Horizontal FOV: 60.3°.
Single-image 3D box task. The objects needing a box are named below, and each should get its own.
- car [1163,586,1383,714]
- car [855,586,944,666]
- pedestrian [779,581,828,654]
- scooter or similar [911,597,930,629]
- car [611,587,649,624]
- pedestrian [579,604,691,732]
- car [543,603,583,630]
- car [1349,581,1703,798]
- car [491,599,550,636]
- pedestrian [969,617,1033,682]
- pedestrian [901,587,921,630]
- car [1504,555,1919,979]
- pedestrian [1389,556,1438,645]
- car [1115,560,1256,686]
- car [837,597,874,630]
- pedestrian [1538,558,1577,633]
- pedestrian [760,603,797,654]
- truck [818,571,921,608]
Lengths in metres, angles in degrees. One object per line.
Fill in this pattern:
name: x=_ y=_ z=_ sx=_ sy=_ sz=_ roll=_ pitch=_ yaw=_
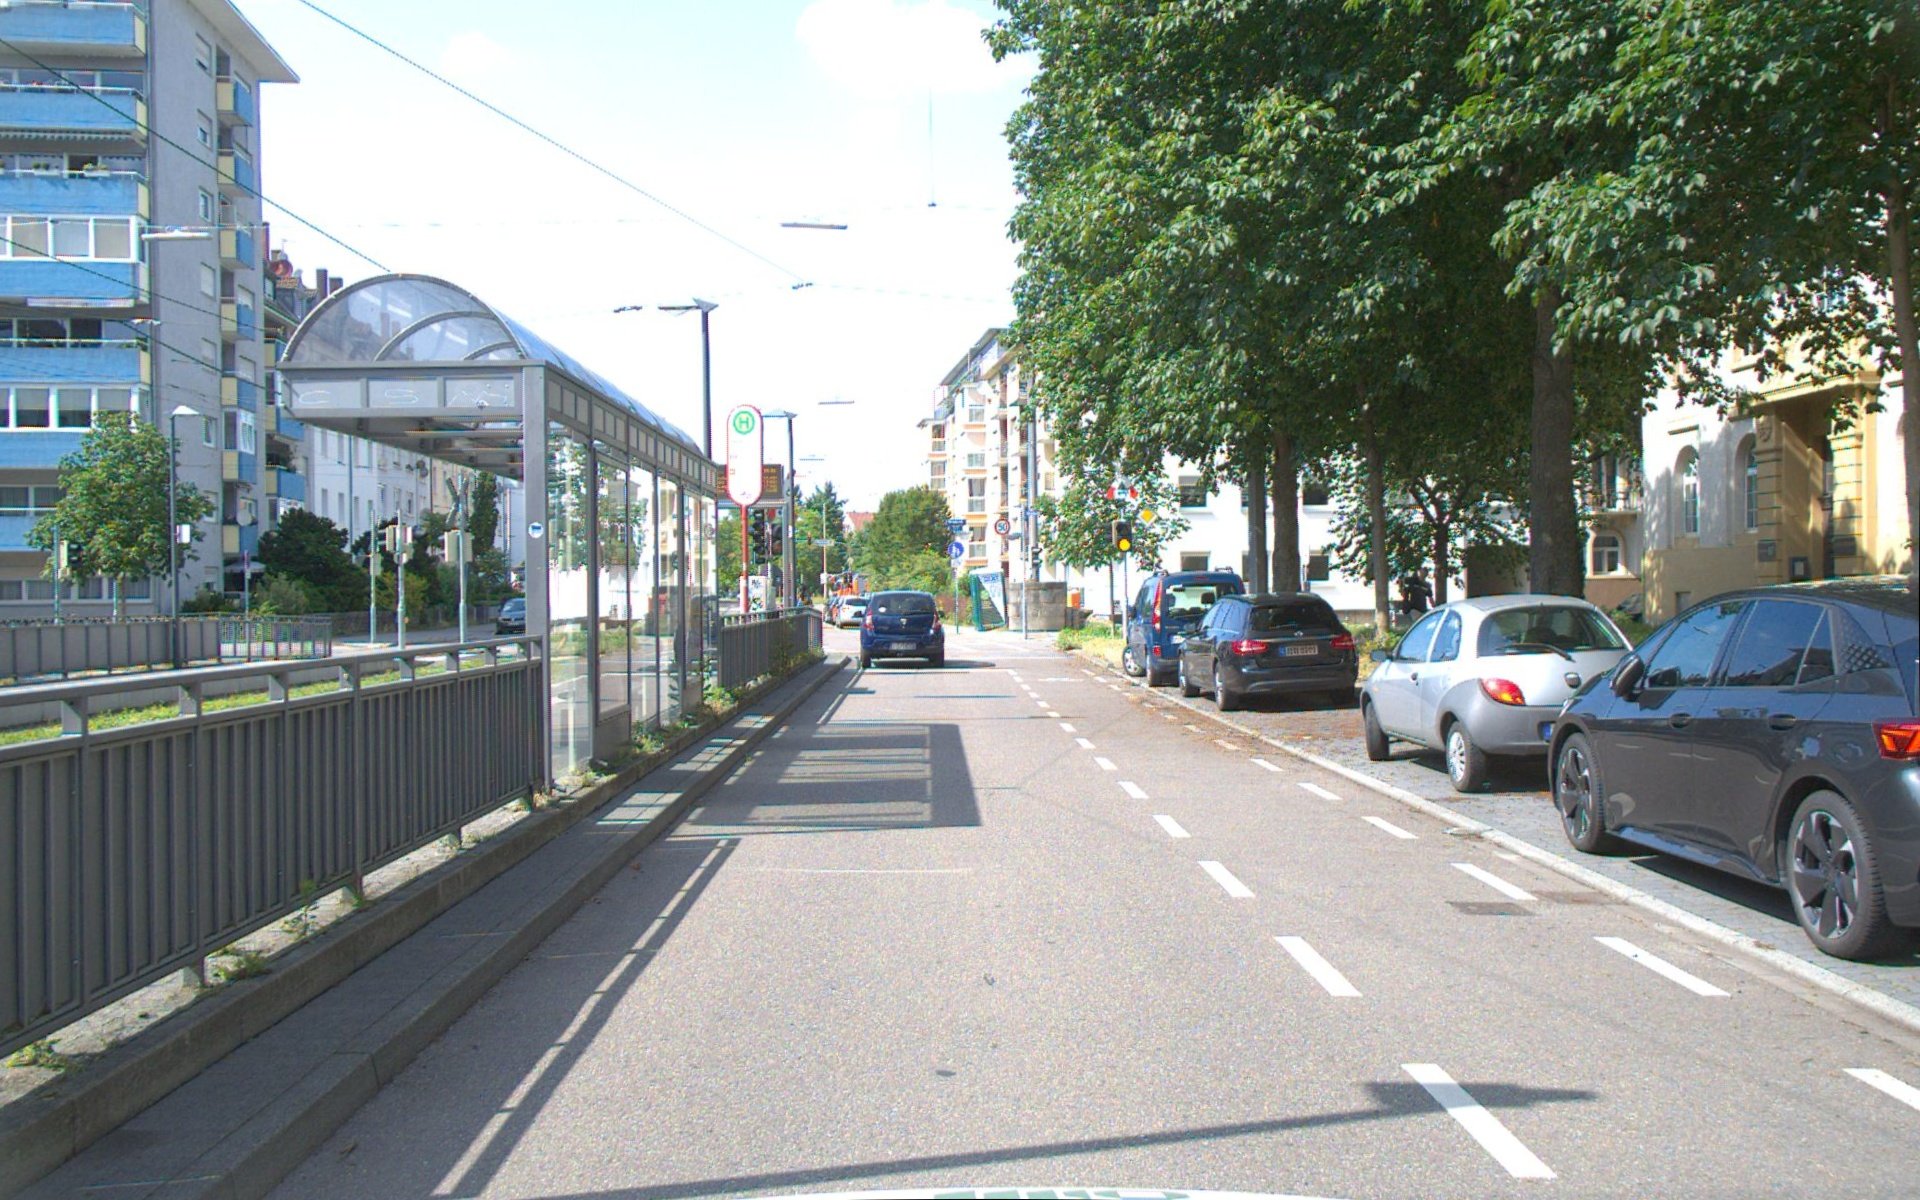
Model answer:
car: x=4.178 y=0.599 z=22.895 sx=1.879 sy=1.467 sz=4.794 roll=-3 pitch=1 yaw=-3
car: x=-1.245 y=0.528 z=34.188 sx=1.709 sy=1.533 sz=3.998 roll=1 pitch=0 yaw=-2
pedestrian: x=-3.692 y=0.411 z=39.040 sx=0.839 sy=1.697 sz=0.788 roll=-1 pitch=-1 yaw=-37
scooter or similar: x=-1.685 y=0.559 z=71.005 sx=0.649 sy=1.326 sz=0.867 roll=-4 pitch=1 yaw=-7
car: x=-21.542 y=0.335 z=107.965 sx=1.955 sy=2.315 sz=4.827 roll=1 pitch=0 yaw=-6
pedestrian: x=-2.895 y=0.589 z=14.751 sx=0.650 sy=1.091 sz=0.722 roll=-1 pitch=1 yaw=33
car: x=-22.325 y=0.904 z=93.047 sx=1.734 sy=1.467 sz=3.994 roll=1 pitch=0 yaw=-7
car: x=4.458 y=0.638 z=13.579 sx=1.558 sy=1.470 sz=3.597 roll=-3 pitch=0 yaw=-1
car: x=-20.468 y=0.810 z=77.164 sx=1.955 sy=1.674 sz=3.995 roll=1 pitch=0 yaw=-5
pedestrian: x=1.330 y=1.619 z=55.014 sx=1.953 sy=2.049 sz=3.999 roll=1 pitch=0 yaw=-1
pedestrian: x=-2.118 y=0.377 z=71.856 sx=0.688 sy=1.820 sz=1.028 roll=-4 pitch=0 yaw=-6
car: x=4.454 y=0.595 z=8.487 sx=1.690 sy=1.611 sz=4.676 roll=-2 pitch=0 yaw=-1
pedestrian: x=9.016 y=0.013 z=32.899 sx=0.729 sy=1.726 sz=0.767 roll=-1 pitch=0 yaw=-1
car: x=3.761 y=0.336 z=28.241 sx=1.785 sy=1.929 sz=4.184 roll=-2 pitch=1 yaw=0
car: x=-4.931 y=0.642 z=77.935 sx=1.591 sy=1.491 sz=3.506 roll=1 pitch=0 yaw=-6
pedestrian: x=13.174 y=-0.104 z=36.480 sx=0.619 sy=1.624 sz=0.539 roll=-1 pitch=-1 yaw=-4
pedestrian: x=-4.374 y=0.681 z=39.814 sx=0.629 sy=1.201 sz=0.791 roll=-1 pitch=-1 yaw=-27
truck: x=-8.959 y=-1.001 z=164.274 sx=9.993 sy=3.531 sz=2.657 roll=1 pitch=-1 yaw=-22
